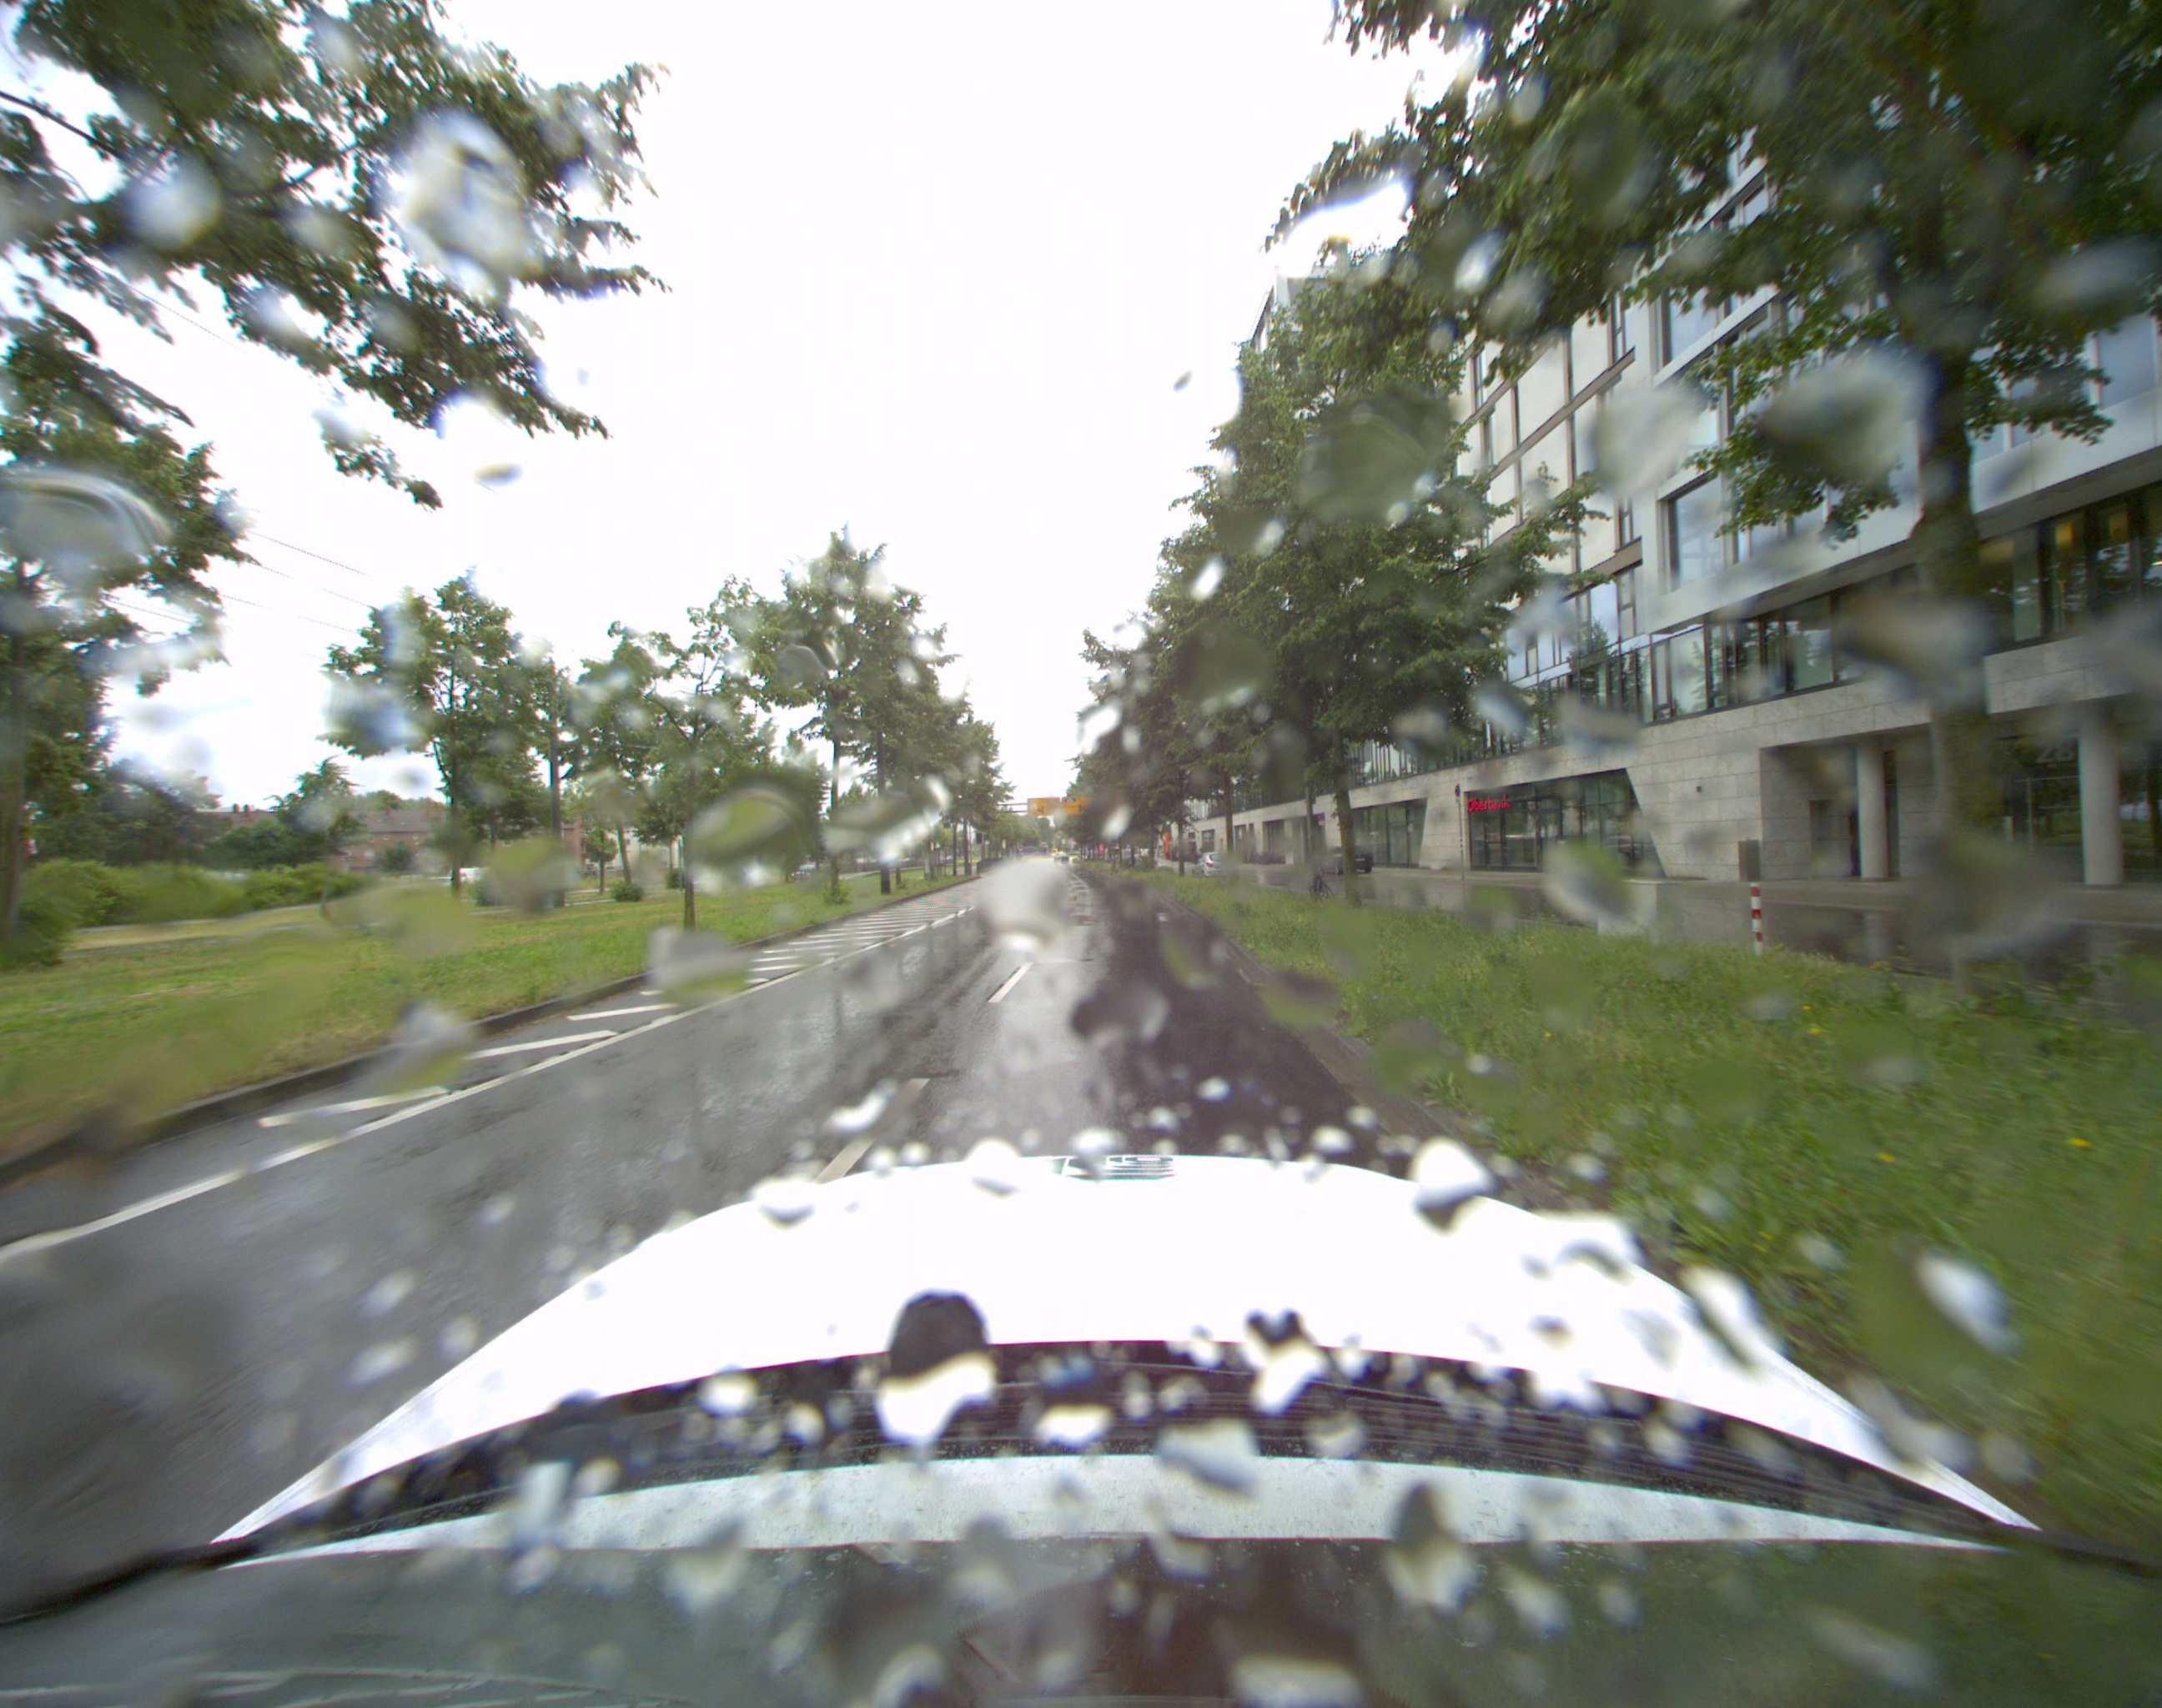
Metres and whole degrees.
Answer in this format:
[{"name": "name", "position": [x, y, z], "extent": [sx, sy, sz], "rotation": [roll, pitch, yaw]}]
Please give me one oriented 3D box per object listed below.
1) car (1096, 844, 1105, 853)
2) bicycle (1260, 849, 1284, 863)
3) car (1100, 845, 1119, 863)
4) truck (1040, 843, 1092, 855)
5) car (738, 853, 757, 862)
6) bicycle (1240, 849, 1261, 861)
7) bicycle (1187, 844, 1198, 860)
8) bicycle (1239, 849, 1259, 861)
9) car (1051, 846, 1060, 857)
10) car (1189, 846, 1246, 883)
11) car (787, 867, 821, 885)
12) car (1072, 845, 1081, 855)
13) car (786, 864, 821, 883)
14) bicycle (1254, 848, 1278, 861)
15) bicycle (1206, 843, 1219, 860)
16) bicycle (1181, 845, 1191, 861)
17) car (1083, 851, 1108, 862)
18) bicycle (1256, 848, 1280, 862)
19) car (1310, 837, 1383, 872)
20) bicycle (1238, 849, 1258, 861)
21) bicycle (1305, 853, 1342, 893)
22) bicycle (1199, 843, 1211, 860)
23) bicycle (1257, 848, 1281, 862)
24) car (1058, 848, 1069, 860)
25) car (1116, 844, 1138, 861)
[{"name": "car", "position": [4.881, -1.276, 202.743], "extent": [1.988, 2.013, 3.999], "rotation": [-2, 2, -1]}, {"name": "bicycle", "position": [15.389, 0.138, 65.506], "extent": [1.801, 1.028, 0.401], "rotation": [-2, 0, 0]}, {"name": "car", "position": [3.781, -0.051, 107.835], "extent": [2.116, 2.274, 4.560], "rotation": [-2, 0, -2]}, {"name": "truck", "position": [-4.505, -1.357, 238.631], "extent": [14.854, 3.147, 3.512], "rotation": [-1, 0, -9]}, {"name": "car", "position": [-69.325, 0.754, 169.222], "extent": [3.550, 1.738, 1.692], "rotation": [-3, 3, -26]}, {"name": "bicycle", "position": [14.917, 0.087, 71.764], "extent": [1.744, 1.028, 0.412], "rotation": [-2, 0, 0]}, {"name": "bicycle", "position": [13.678, -0.255, 100.006], "extent": [0.643, 1.722, 3.118], "rotation": [-2, 2, -2]}, {"name": "bicycle", "position": [14.920, 0.078, 72.272], "extent": [1.688, 1.028, 0.423], "rotation": [-2, 0, 0]}, {"name": "car", "position": [-5.218, -0.483, 168.034], "extent": [1.883, 2.013, 3.998], "rotation": [-2, 2, -2]}, {"name": "car", "position": [6.702, 0.469, 40.480], "extent": [1.876, 1.505, 4.721], "rotation": [-2, 2, -2]}, {"name": "car", "position": [-23.073, 1.876, 67.969], "extent": [1.486, 1.298, 4.967], "rotation": [-3, -2, -5]}, {"name": "car", "position": [-1.037, -0.918, 190.738], "extent": [1.986, 2.013, 4.003], "rotation": [-2, 2, 2]}, {"name": "car", "position": [-23.129, 1.606, 68.049], "extent": [1.546, 1.266, 4.845], "rotation": [-2, 2, -4]}, {"name": "bicycle", "position": [15.324, 0.072, 67.435], "extent": [1.801, 1.028, 0.541], "rotation": [-2, 0, 0]}, {"name": "bicycle", "position": [14.522, -0.323, 90.057], "extent": [0.770, 1.722, 3.118], "rotation": [-2, 2, -3]}, {"name": "bicycle", "position": [12.927, -0.141, 100.119], "extent": [0.643, 1.722, 3.118], "rotation": [-2, 2, -2]}, {"name": "car", "position": [2.156, 0.402, 123.944], "extent": [1.829, 1.544, 3.957], "rotation": [-4, 3, -35]}, {"name": "bicycle", "position": [15.322, 0.076, 66.828], "extent": [1.801, 1.028, 0.541], "rotation": [-2, 0, 0]}, {"name": "car", "position": [13.523, -0.029, 41.843], "extent": [1.987, 1.501, 5.033], "rotation": [-7, 1, 0]}, {"name": "bicycle", "position": [14.897, 0.066, 72.816], "extent": [1.688, 1.028, 0.423], "rotation": [-2, 0, 0]}, {"name": "bicycle", "position": [5.752, 0.426, 19.386], "extent": [0.341, 0.822, 1.903], "rotation": [-2, 2, 1]}, {"name": "bicycle", "position": [13.734, -0.300, 90.193], "extent": [0.643, 1.722, 3.118], "rotation": [-2, 2, -2]}, {"name": "bicycle", "position": [15.305, 0.072, 66.218], "extent": [1.801, 1.028, 0.541], "rotation": [-2, 0, 0]}, {"name": "car", "position": [-3.327, -0.087, 153.070], "extent": [1.935, 2.013, 3.998], "rotation": [-2, 2, -2]}, {"name": "car", "position": [4.984, -0.176, 89.265], "extent": [1.901, 1.791, 4.684], "rotation": [-2, 0, -2]}]
